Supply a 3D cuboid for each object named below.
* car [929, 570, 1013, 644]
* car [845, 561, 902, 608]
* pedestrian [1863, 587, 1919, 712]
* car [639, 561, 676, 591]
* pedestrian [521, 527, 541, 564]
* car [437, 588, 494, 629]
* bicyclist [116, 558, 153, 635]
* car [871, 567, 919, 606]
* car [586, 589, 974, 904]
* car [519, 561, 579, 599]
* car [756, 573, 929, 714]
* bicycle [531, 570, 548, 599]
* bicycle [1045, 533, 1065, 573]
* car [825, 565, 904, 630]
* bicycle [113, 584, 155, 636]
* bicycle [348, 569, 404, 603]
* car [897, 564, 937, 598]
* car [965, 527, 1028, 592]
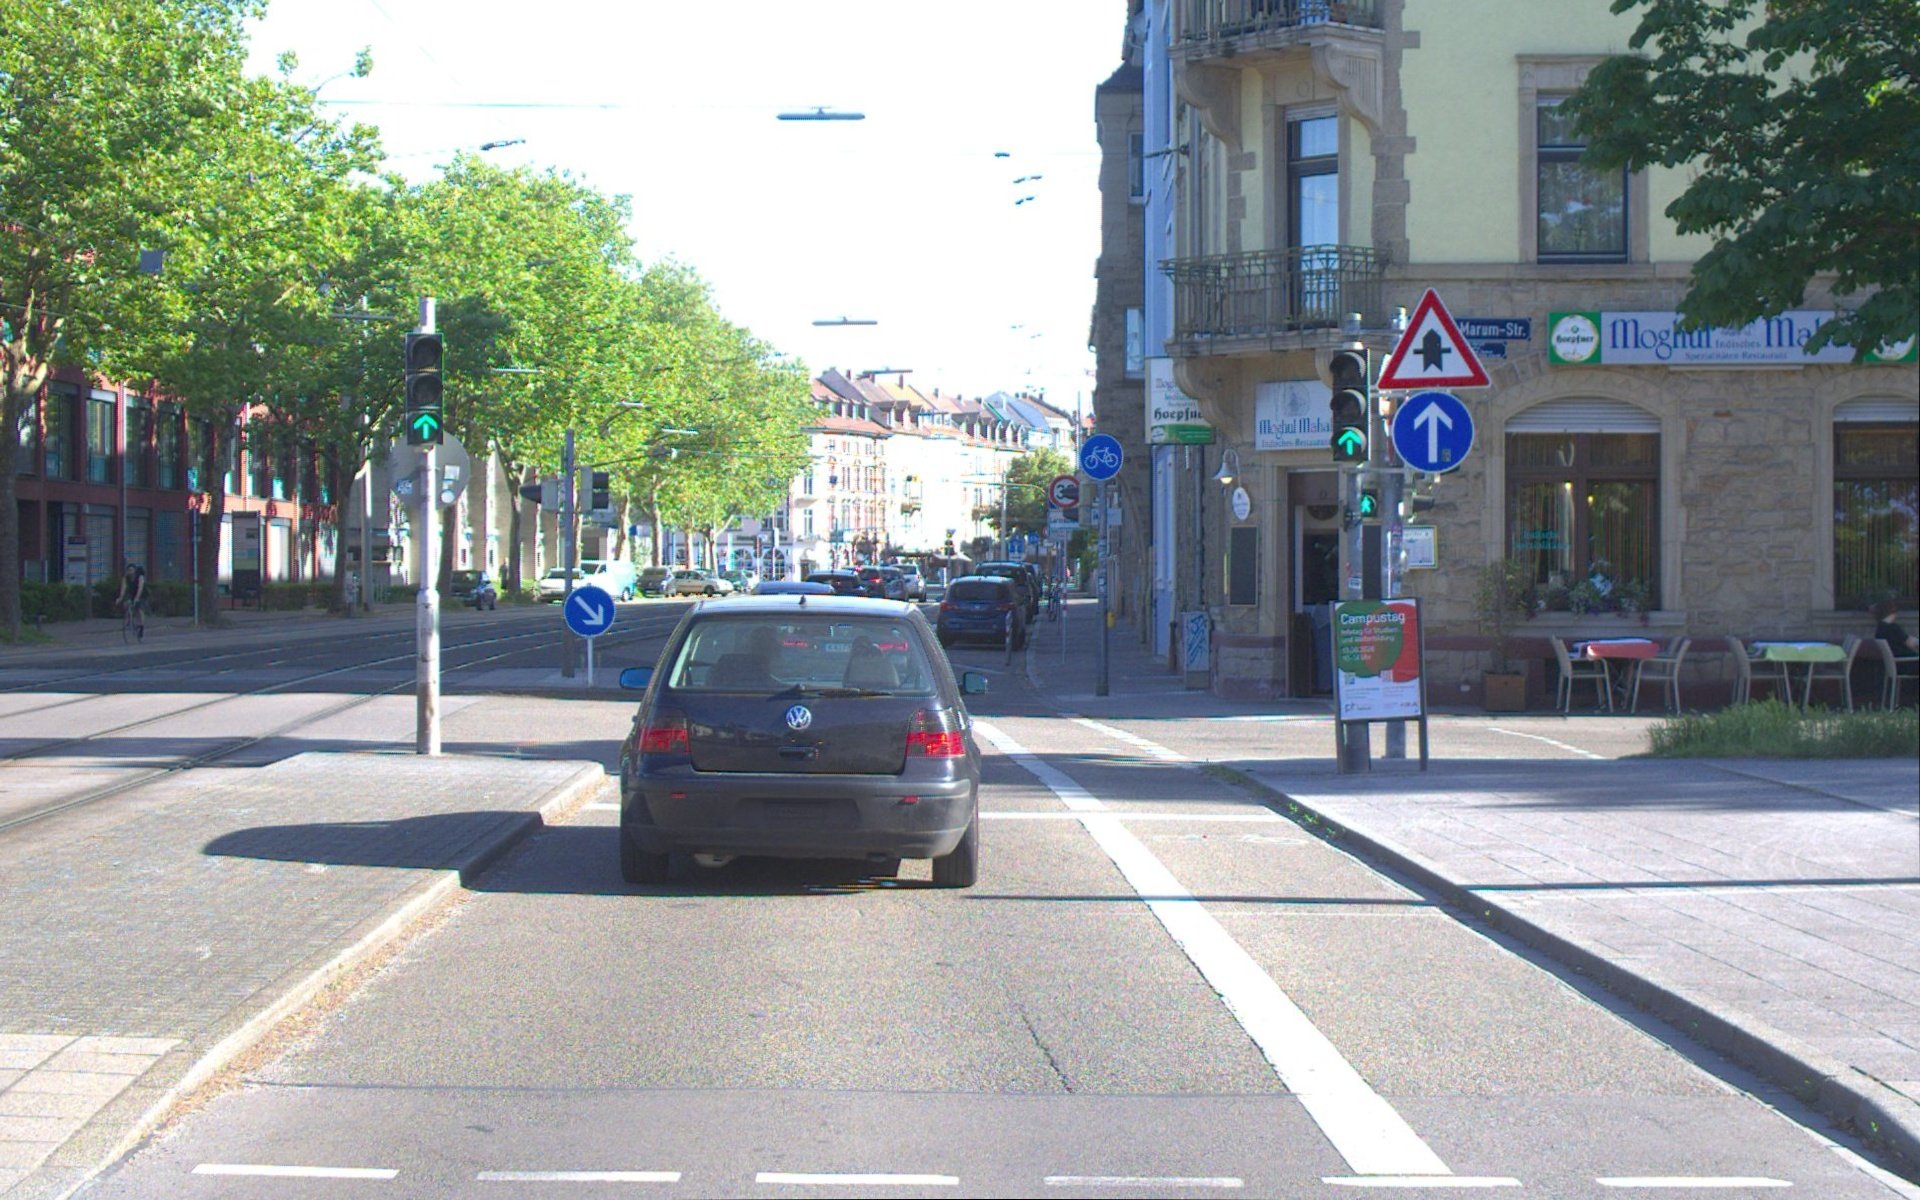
[{"bbox_3d":[0.251,0.123,71.578,1.655,1.477,4.000,1,1,1],"label":"car"},{"bbox_3d":[-2.780,-0.518,110.507,1.636,1.467,3.729,0,1,2],"label":"car"},{"bbox_3d":[10.534,0.550,38.495,0.638,1.355,0.701,2,1,3],"label":"pedestrian"},{"bbox_3d":[-16.257,-1.276,184.917,1.570,1.528,3.572,0,0,2],"label":"car"},{"bbox_3d":[-21.381,-2.700,171.332,0.796,1.814,0.670,2,1,2],"label":"pedestrian"},{"bbox_3d":[-18.135,0.320,126.138,1.507,1.449,3.463,-1,-1,2],"label":"car"},{"bbox_3d":[-17.709,-0.082,73.750,0.645,1.606,0.781,2,1,-7],"label":"bicyclist"},{"bbox_3d":[-2.466,-0.515,130.785,1.636,1.467,3.729,0,0,2],"label":"car"},{"bbox_3d":[-0.803,0.654,17.503,1.748,1.370,4.000,0,1,0],"label":"car"},{"bbox_3d":[-17.964,-0.888,150.347,2.011,1.567,4.693,2,1,0],"label":"car"},{"bbox_3d":[-1.326,0.467,40.228,1.748,1.532,3.891,0,1,2],"label":"car"},{"bbox_3d":[-17.706,-0.651,144.779,0.581,1.205,1.654,2,1,-4],"label":"bicycle"},{"bbox_3d":[2.766,-1.374,100.068,0.514,1.136,2.259,-1,1,1],"label":"bicycle"},{"bbox_3d":[-2.211,-0.082,80.562,1.636,1.467,3.729,0,1,2],"label":"car"},{"bbox_3d":[-17.716,0.206,73.765,0.645,1.039,1.926,2,1,-7],"label":"bicycle"},{"bbox_3d":[-22.532,-0.539,132.687,2.008,1.274,0.664,2,1,2],"label":"bicycle"},{"bbox_3d":[-1.903,-0.834,152.118,1.636,1.467,3.729,0,1,2],"label":"car"},{"bbox_3d":[1.102,-1.206,102.575,1.753,1.849,4.815,1,1,2],"label":"car"}]
